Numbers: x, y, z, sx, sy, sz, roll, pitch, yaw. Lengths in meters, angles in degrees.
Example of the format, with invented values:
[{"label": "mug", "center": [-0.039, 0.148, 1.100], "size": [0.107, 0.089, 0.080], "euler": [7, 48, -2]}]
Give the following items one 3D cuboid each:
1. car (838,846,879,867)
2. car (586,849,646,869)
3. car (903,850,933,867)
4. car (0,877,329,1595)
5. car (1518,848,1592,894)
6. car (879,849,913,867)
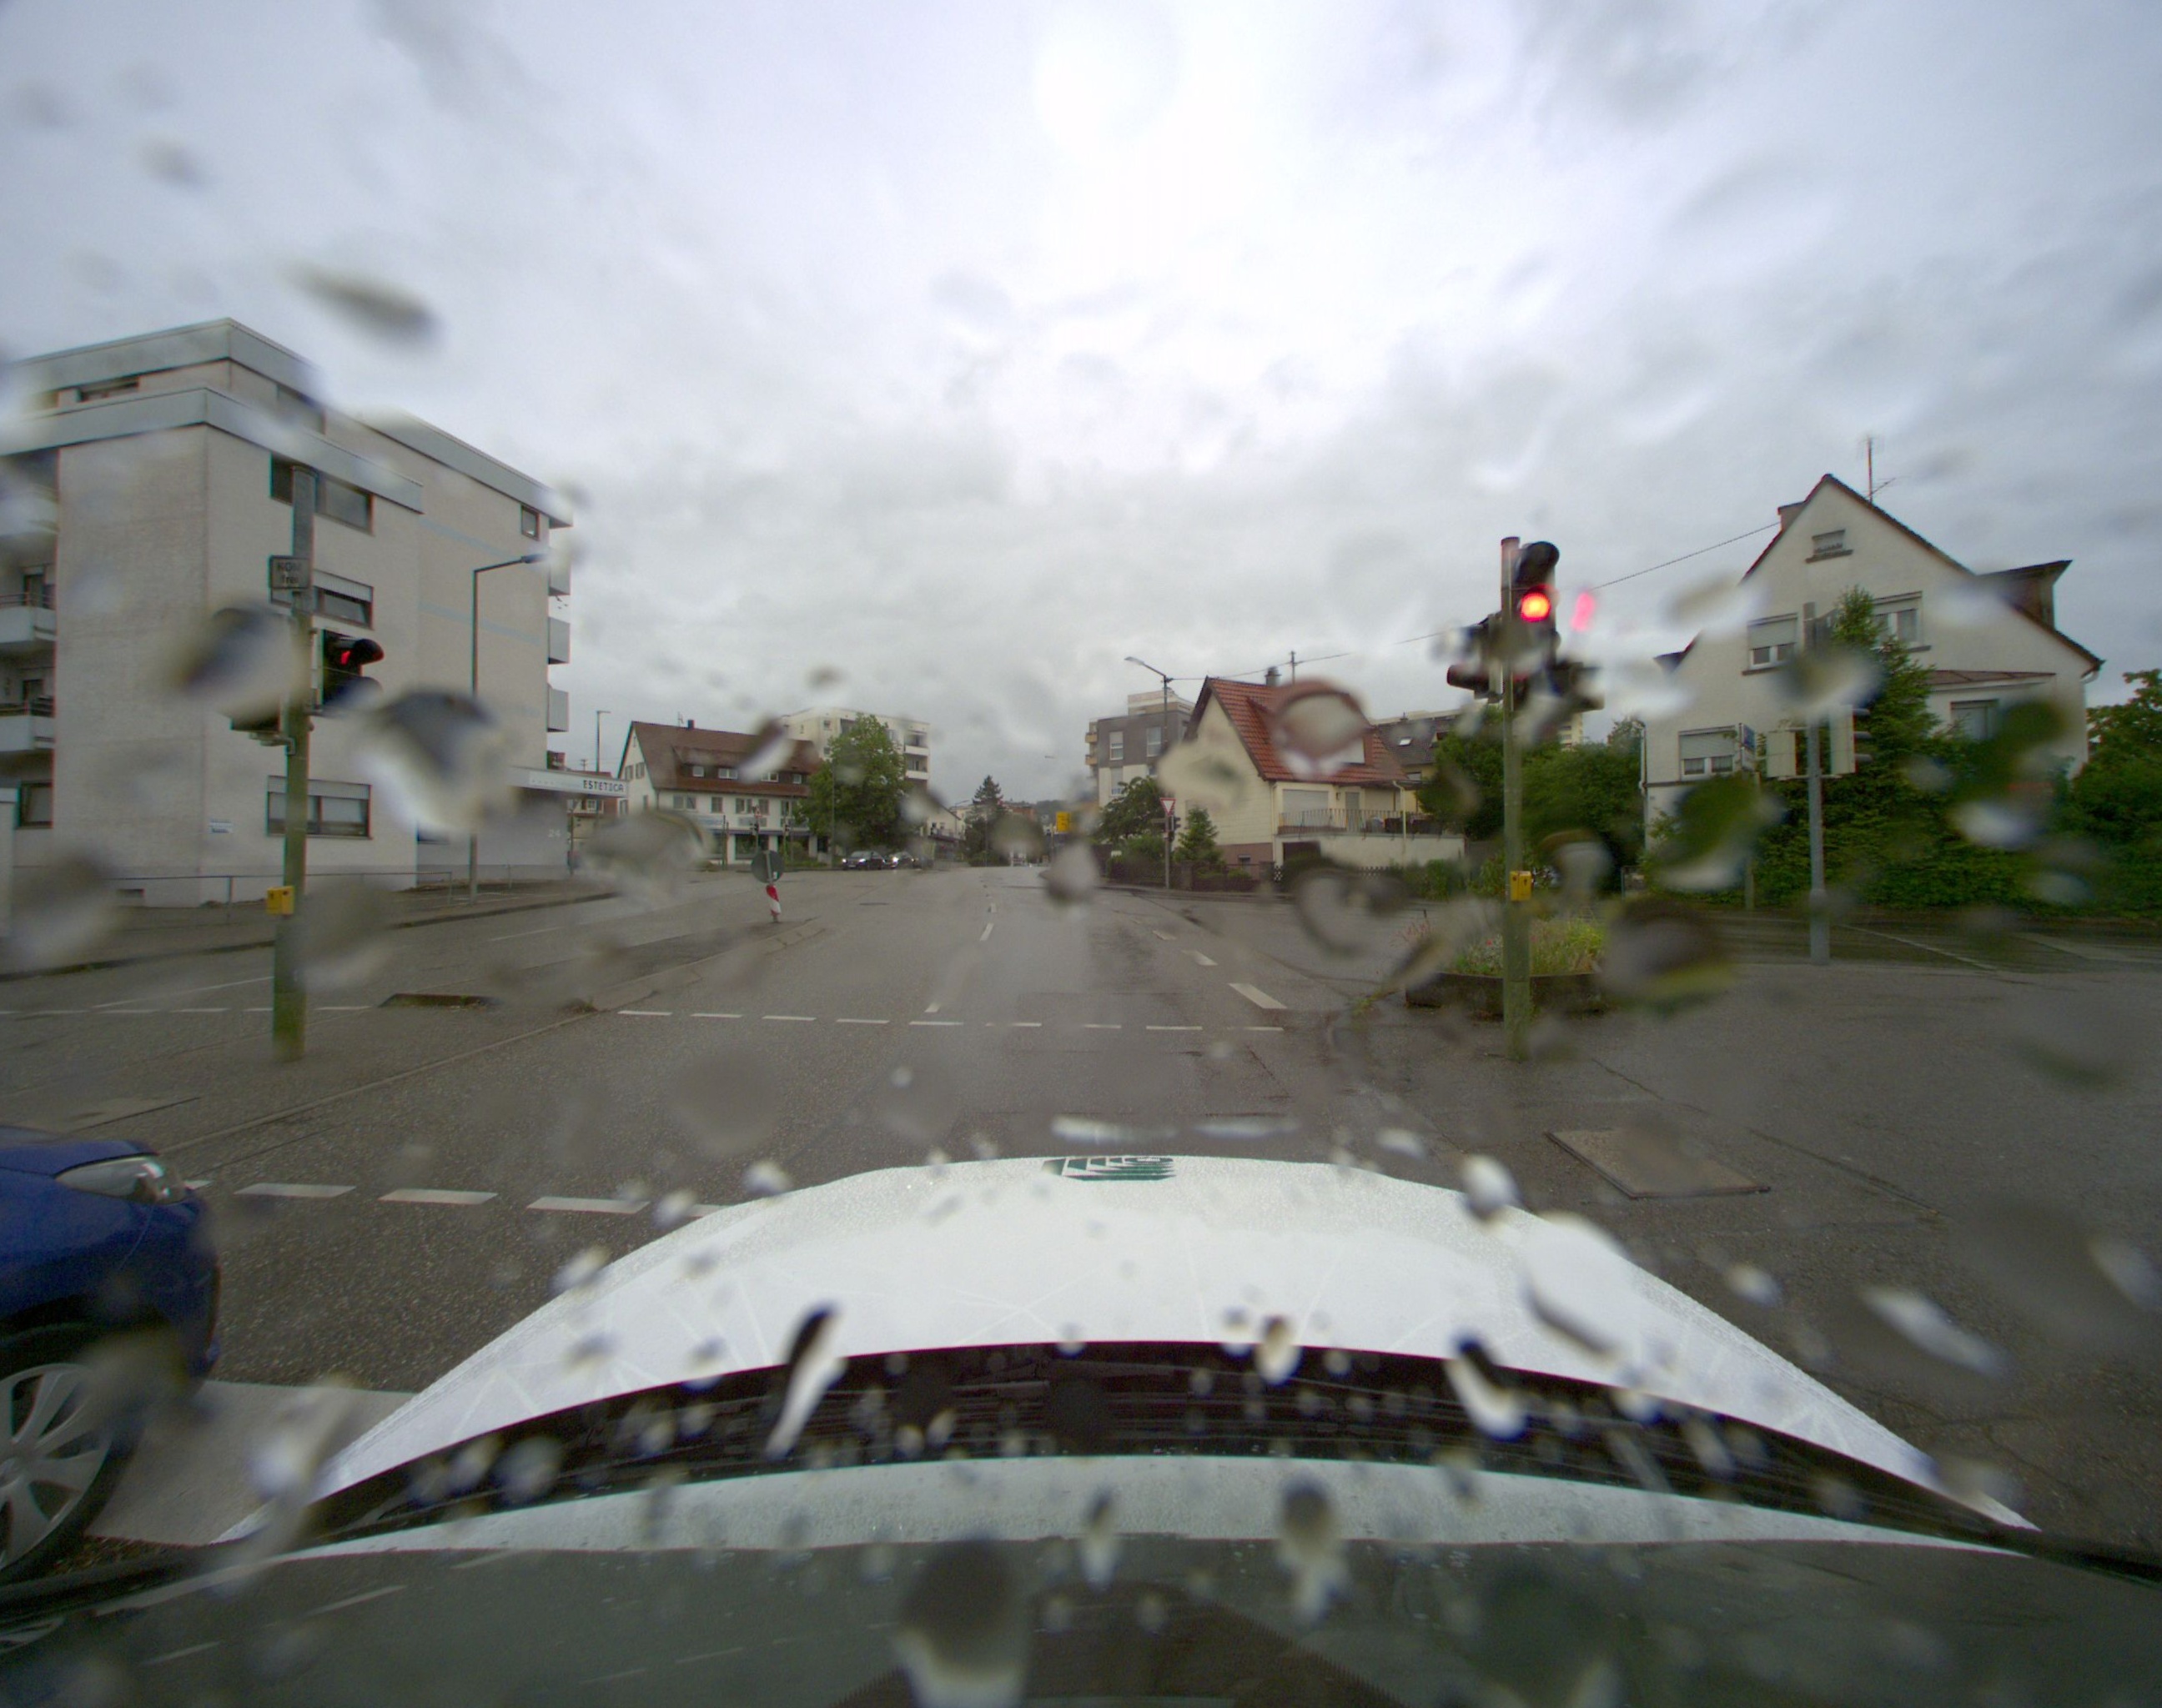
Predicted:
[{"label": "car", "center": [-16.007, 0.152, 58.741], "size": [1.772, 1.420, 3.832], "euler": [0, 0, 2]}, {"label": "car", "center": [-38.318, 0.405, 67.100], "size": [3.988, 1.572, 1.850], "euler": [0, 0, -42]}, {"label": "car", "center": [-14.372, 0.359, 71.930], "size": [1.772, 1.420, 3.832], "euler": [0, 0, 2]}, {"label": "car", "center": [-2.985, 0.779, 0.691], "size": [1.572, 1.410, 3.272], "euler": [0, 0, 2]}, {"label": "car", "center": [17.098, 0.559, 29.290], "size": [1.723, 1.514, 4.025], "euler": [0, 0, 39]}, {"label": "car", "center": [-15.001, 0.307, 66.098], "size": [1.708, 1.387, 4.022], "euler": [0, 0, 2]}]
